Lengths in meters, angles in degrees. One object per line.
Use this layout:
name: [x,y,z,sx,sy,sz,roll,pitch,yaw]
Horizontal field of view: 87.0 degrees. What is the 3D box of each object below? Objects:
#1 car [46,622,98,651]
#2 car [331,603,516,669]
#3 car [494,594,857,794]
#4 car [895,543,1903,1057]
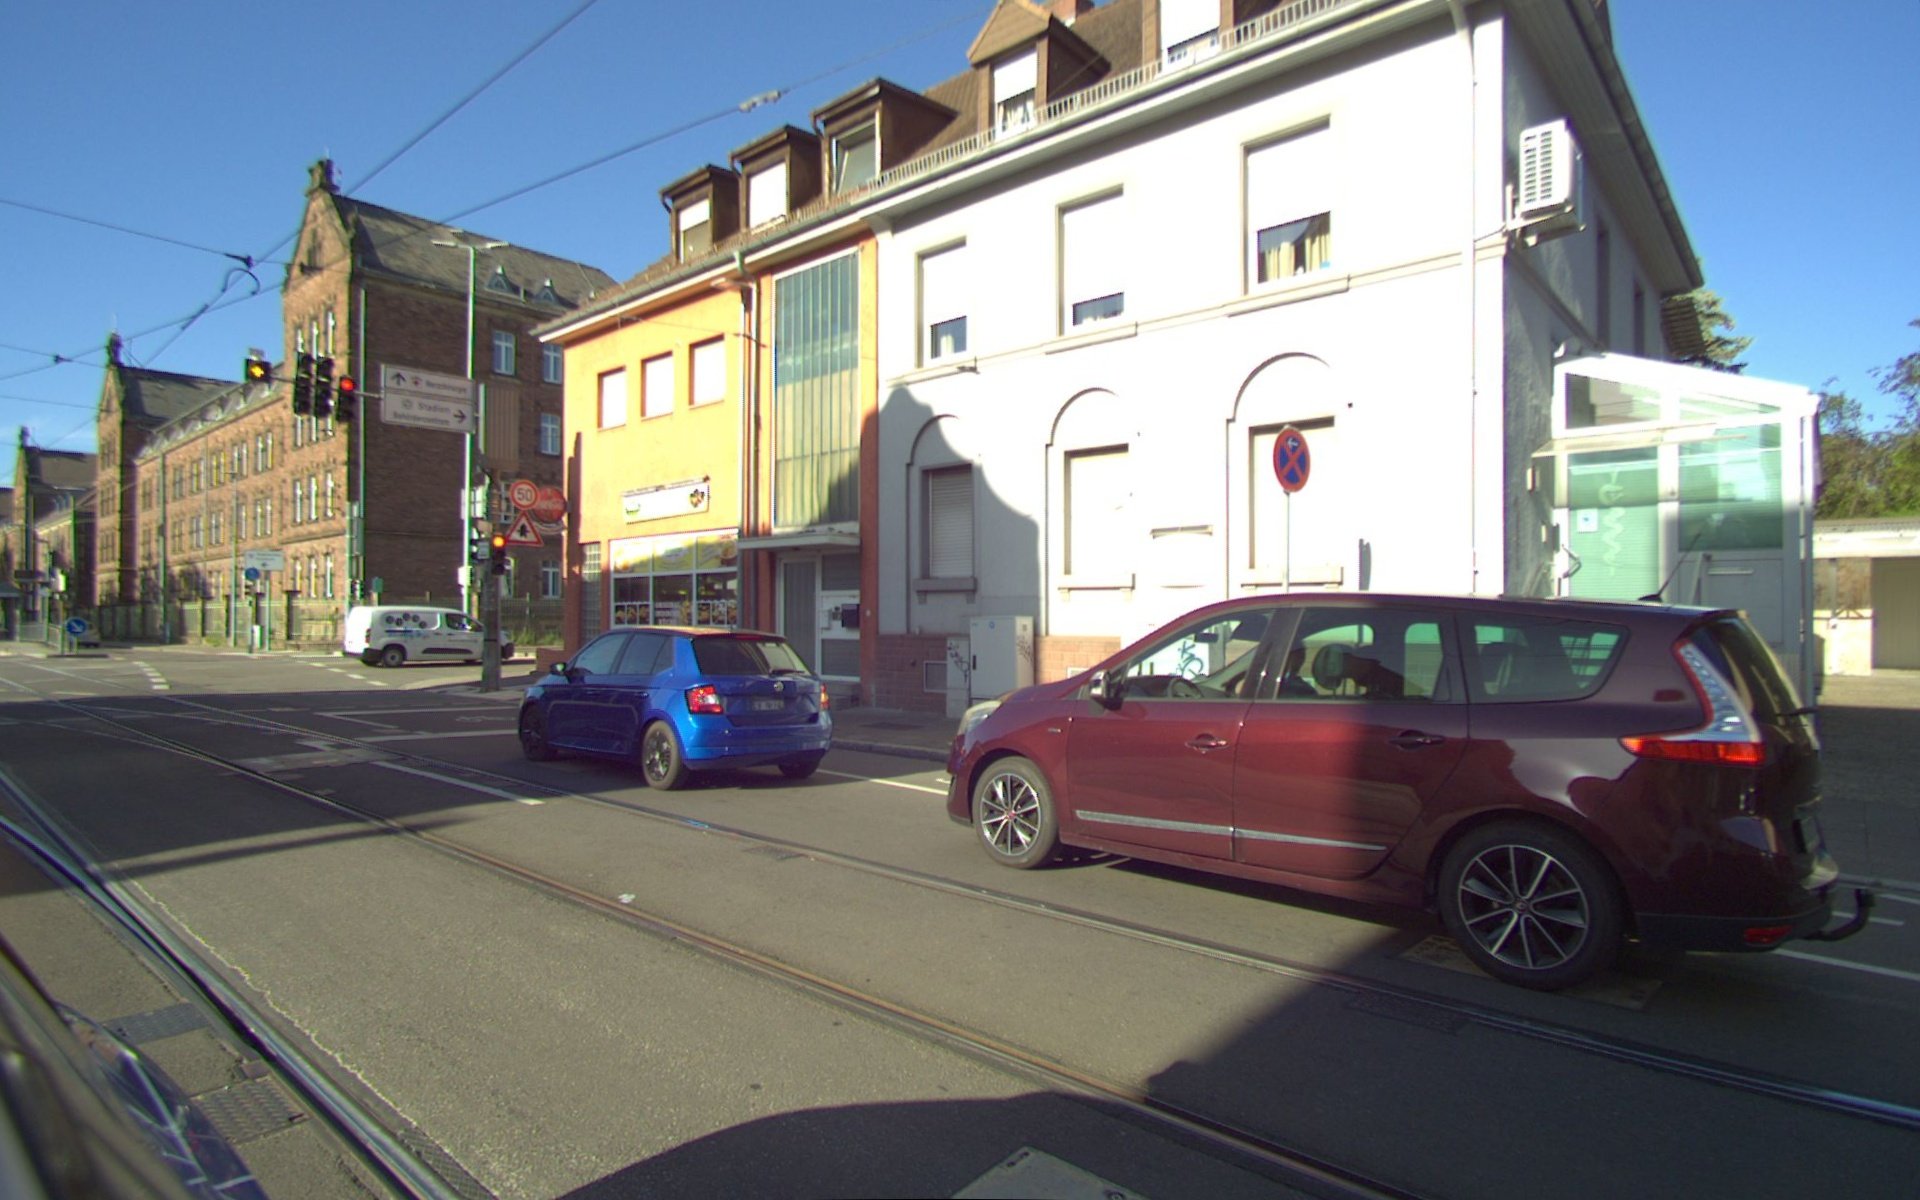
car: [-48.334,1.967,55.065,4.114,1.454,1.718,-1,-1,42]
car: [-16.344,1.043,31.036,1.857,1.812,4.635,2,1,40]
car: [-2.937,0.801,9.989,3.929,1.579,1.665,-1,-3,44]
car: [1.860,0.675,5.490,4.716,1.623,1.718,-1,-2,45]
